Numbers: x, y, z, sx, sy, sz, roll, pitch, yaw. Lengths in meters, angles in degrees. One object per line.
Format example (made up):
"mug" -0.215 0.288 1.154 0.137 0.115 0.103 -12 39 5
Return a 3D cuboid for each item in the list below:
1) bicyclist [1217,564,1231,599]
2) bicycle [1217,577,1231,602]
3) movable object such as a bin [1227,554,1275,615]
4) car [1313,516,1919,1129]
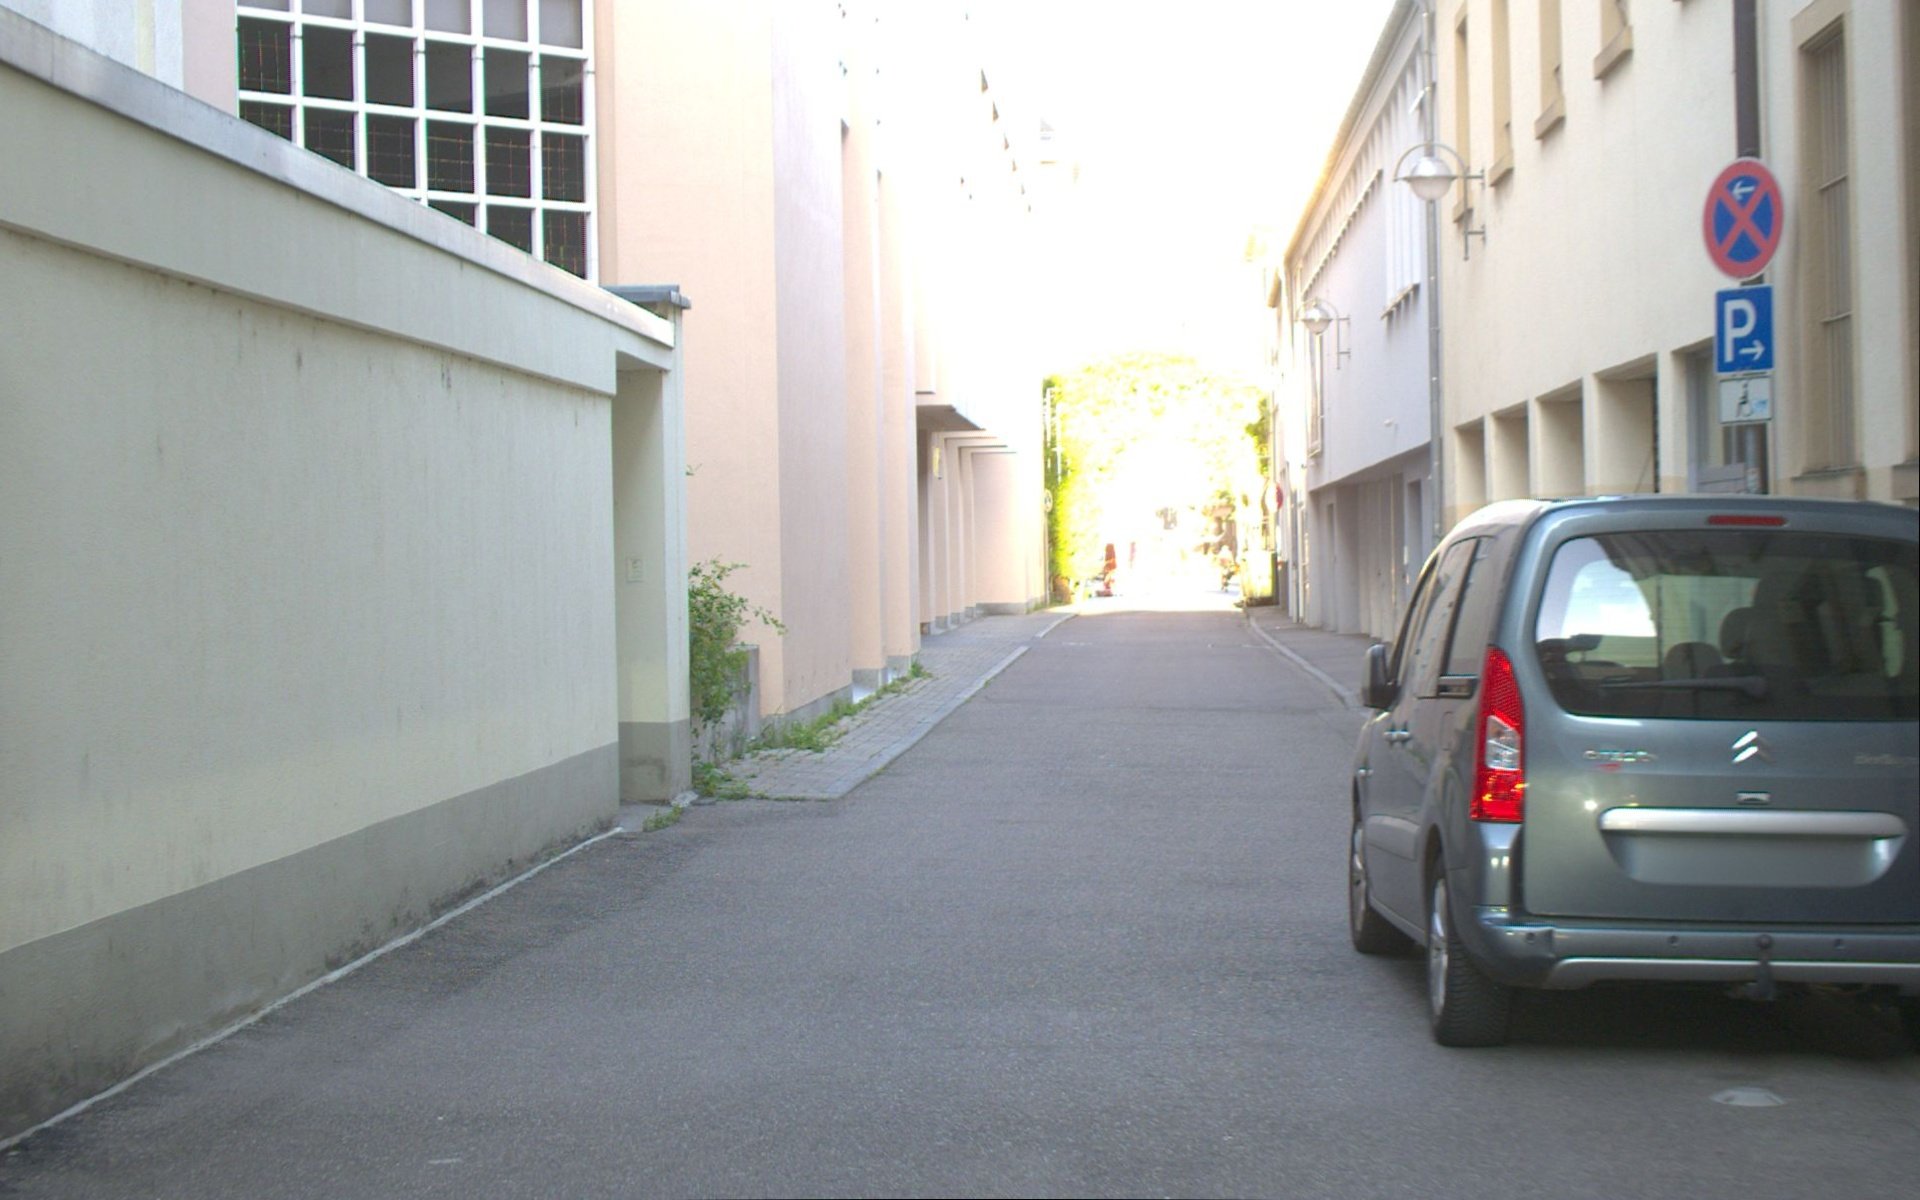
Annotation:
"bicyclist" 9.906 -0.686 129.047 0.512 1.318 0.558 0 0 6
"bicycle" 9.921 -0.392 129.112 0.443 0.912 1.516 0 1 6
"movable object such as a bin" 7.148 -0.380 84.456 1.107 1.431 1.414 -1 2 4
"car" 2.425 0.673 12.324 1.855 1.750 4.162 3 0 1
